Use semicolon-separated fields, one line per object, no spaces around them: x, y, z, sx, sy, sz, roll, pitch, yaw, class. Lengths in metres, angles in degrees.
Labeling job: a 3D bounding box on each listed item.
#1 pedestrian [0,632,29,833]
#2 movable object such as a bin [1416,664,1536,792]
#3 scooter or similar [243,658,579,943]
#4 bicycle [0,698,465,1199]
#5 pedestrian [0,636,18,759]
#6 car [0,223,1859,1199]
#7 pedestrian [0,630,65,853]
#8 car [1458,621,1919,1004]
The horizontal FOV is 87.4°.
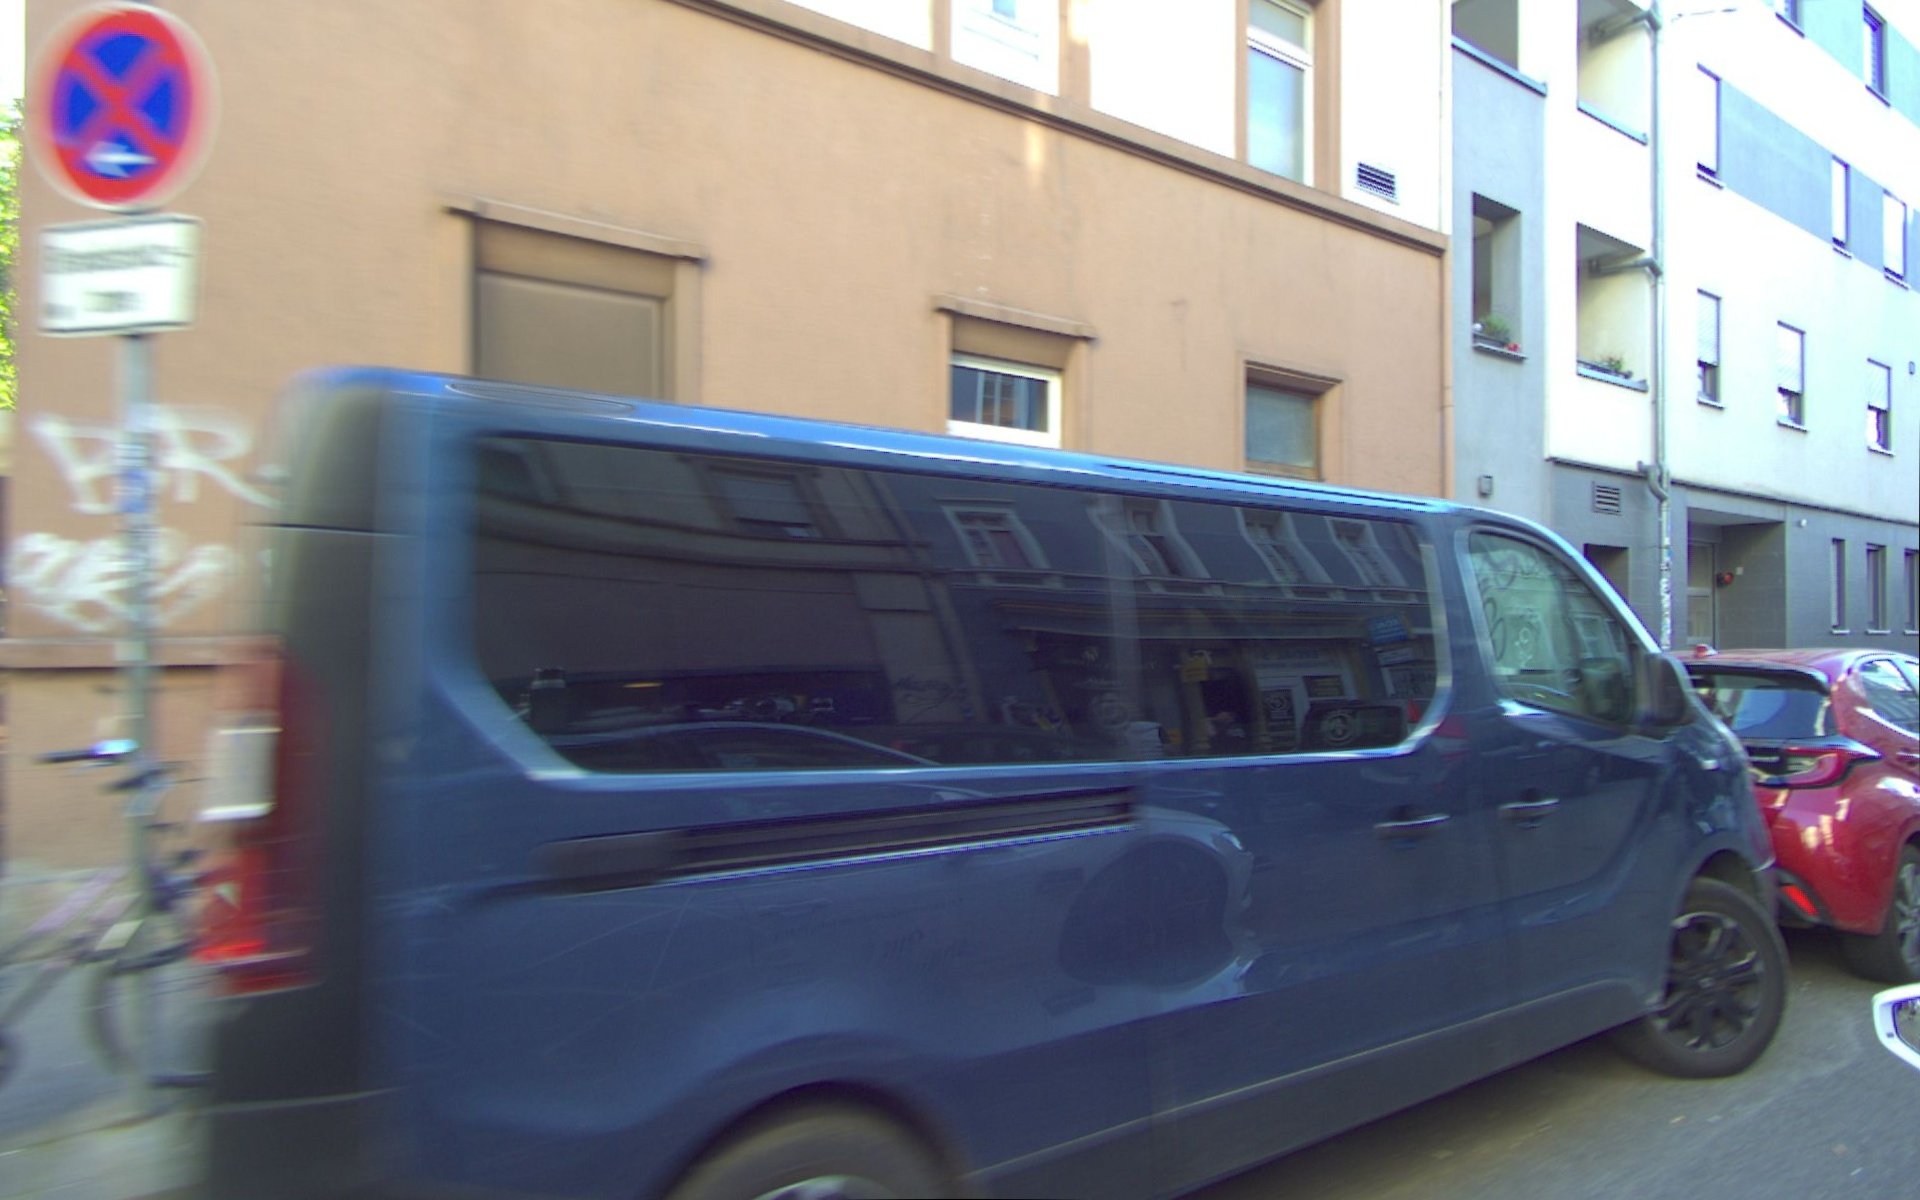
-7.028;0.916;6.990;0.684;1.379;0.614;0;-1;-32;pedestrian
4.725;1.150;9.232;0.640;1.081;0.760;1;-1;-12;movable object such as a bin
-2.639;0.910;4.925;1.376;1.232;0.345;2;-1;-33;scooter or similar
-2.613;0.972;2.982;0.543;1.232;1.979;1;-1;41;bicycle
-10.857;1.074;11.054;0.615;1.336;0.469;0;-1;-32;pedestrian
0.663;0.574;3.342;5.235;1.904;2.010;1;-1;-31;car
-6.252;0.883;6.408;0.684;1.379;0.674;0;-1;-31;pedestrian
4.868;0.984;5.854;3.826;1.541;1.742;2;-5;-32;car
